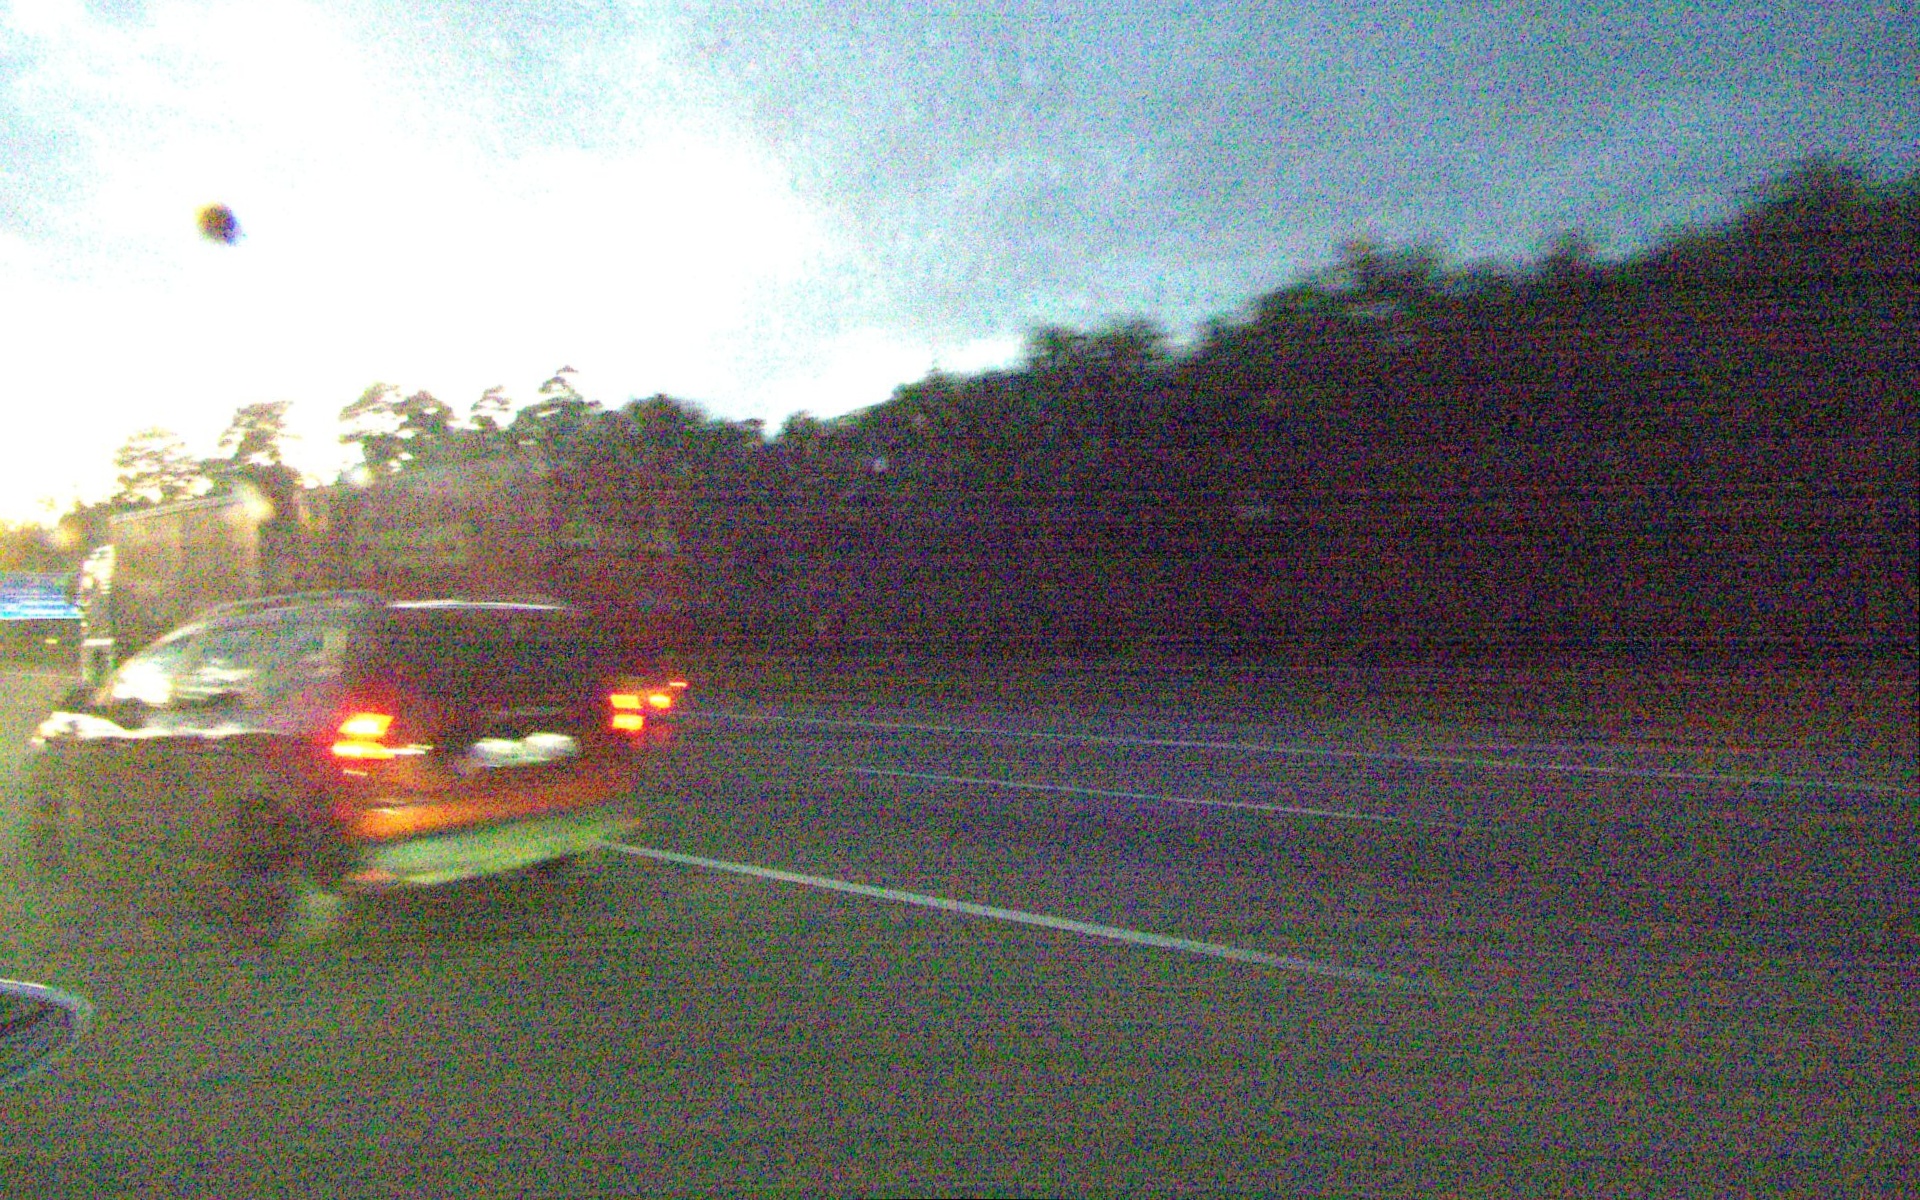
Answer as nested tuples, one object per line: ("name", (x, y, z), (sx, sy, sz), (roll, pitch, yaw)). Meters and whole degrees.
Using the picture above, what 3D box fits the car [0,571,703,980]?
("car", (-4.067, 0.796, 6.223), (4.980, 1.664, 1.900), (-1, -2, 32))

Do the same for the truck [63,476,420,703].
("truck", (-16.431, -0.075, 22.474), (10.680, 4.153, 2.879), (-1, -1, 33))

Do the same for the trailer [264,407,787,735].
("trailer", (-7.660, -0.257, 16.702), (10.212, 4.153, 2.901), (-1, -1, 33))
